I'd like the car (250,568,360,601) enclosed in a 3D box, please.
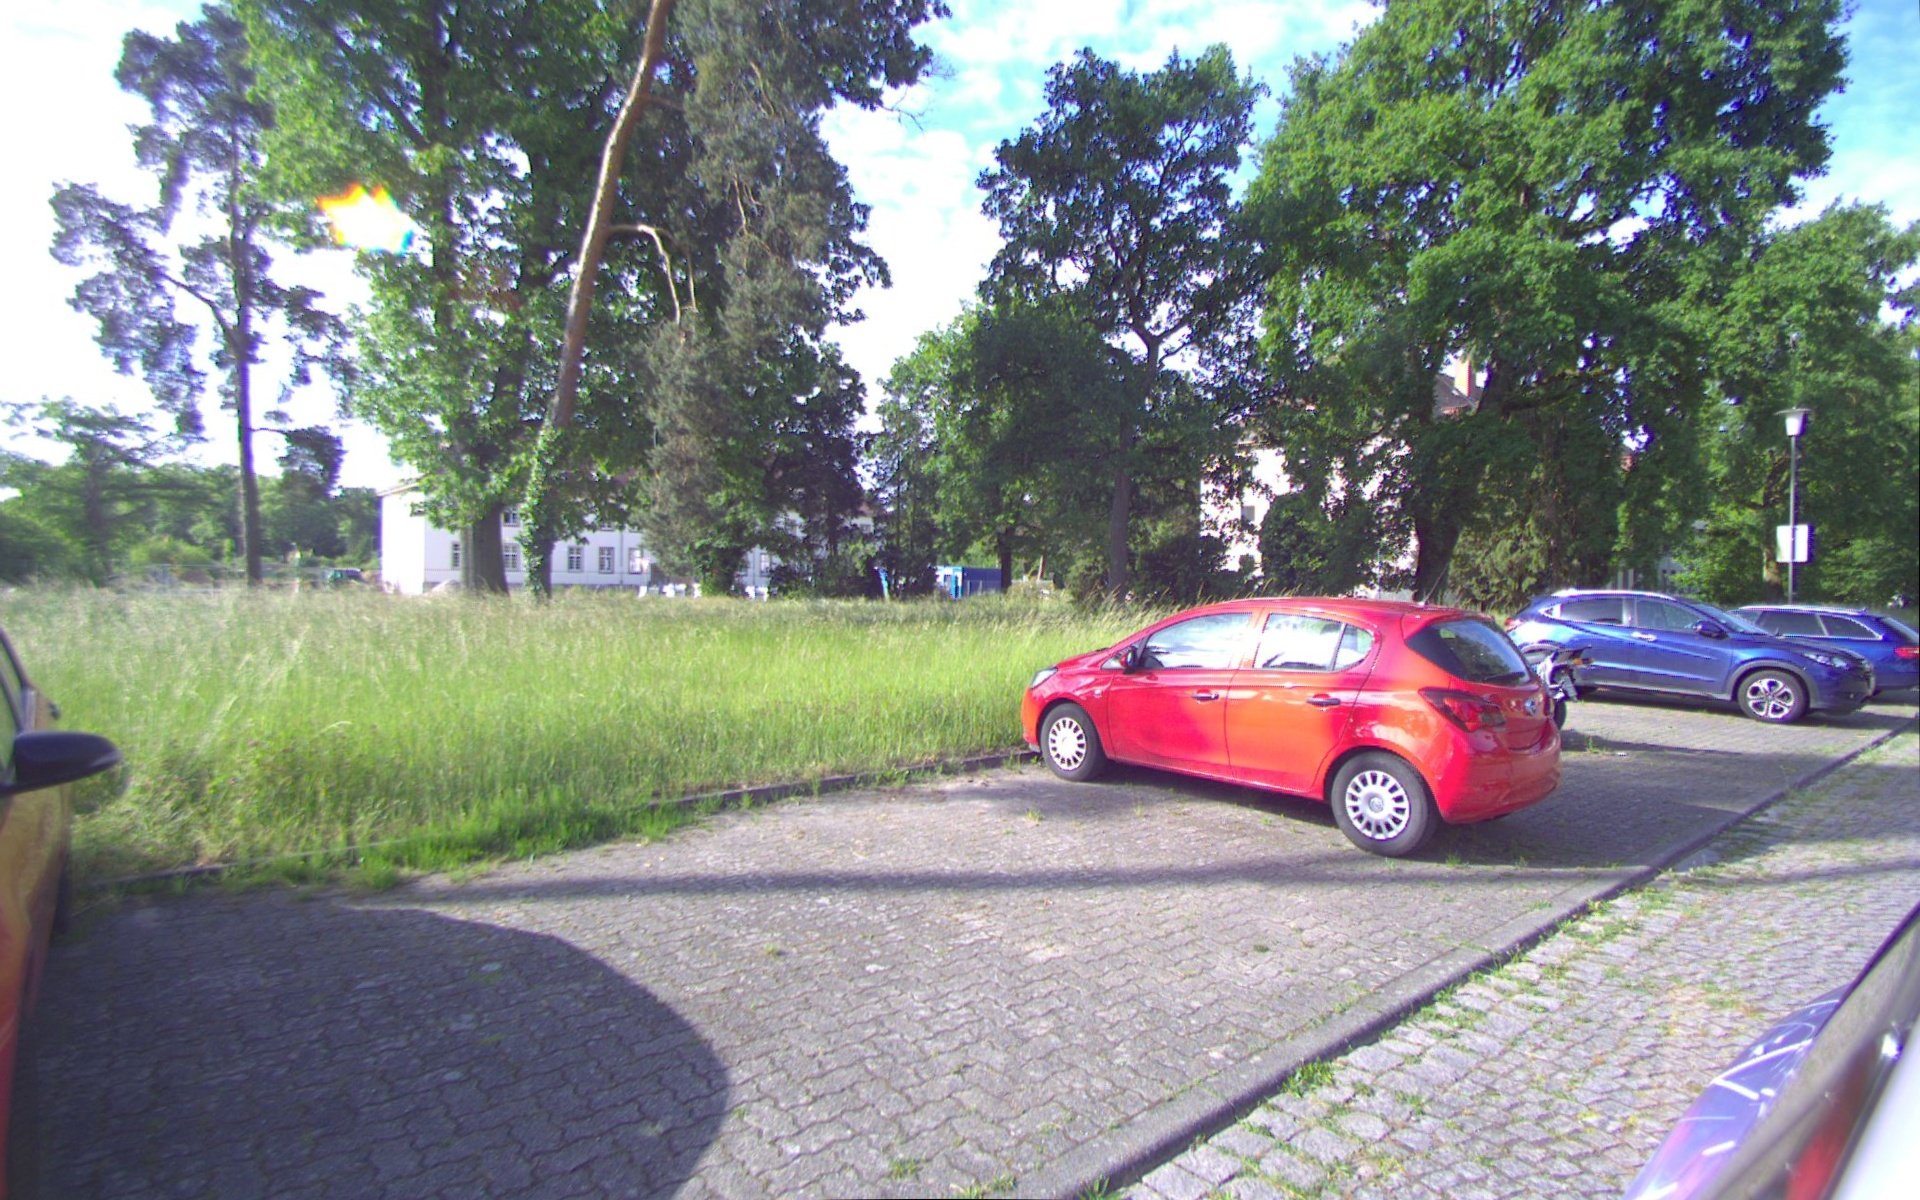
[{"bbox_3d":[-45.248,-1.078,70.031,5.889,2.198,2.380,-1,1,-12],"label":"car"}]

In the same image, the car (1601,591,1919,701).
[{"bbox_3d":[13.508,0.669,16.852,1.682,1.425,4.463,0,3,-37],"label":"car"}]

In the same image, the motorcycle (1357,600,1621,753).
[{"bbox_3d":[5.420,0.713,10.529,0.713,1.336,2.304,0,2,-40],"label":"motorcycle"}]

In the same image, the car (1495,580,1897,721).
[{"bbox_3d":[9.931,0.555,13.937,1.721,1.611,4.185,0,1,-40],"label":"car"}]

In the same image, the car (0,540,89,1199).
[{"bbox_3d":[-3.402,0.629,2.646,1.616,1.549,3.771,0,1,-40],"label":"car"}]

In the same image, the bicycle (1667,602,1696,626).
[{"bbox_3d":[32.370,0.605,45.415,0.700,1.029,1.023,1,1,12],"label":"bicycle"}]

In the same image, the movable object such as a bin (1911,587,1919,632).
[{"bbox_3d":[40.636,0.443,39.331,1.959,1.781,4.949,1,1,-26],"label":"movable object such as a bin"}]

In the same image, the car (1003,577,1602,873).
[{"bbox_3d":[2.218,0.634,7.380,1.616,1.497,3.835,0,2,-40],"label":"car"}]

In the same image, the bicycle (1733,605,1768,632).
[{"bbox_3d":[31.020,0.707,39.692,1.231,1.029,0.711,0,1,-33],"label":"bicycle"}]

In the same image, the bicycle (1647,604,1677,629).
[{"bbox_3d":[29.501,0.691,42.539,1.007,1.029,0.711,0,1,-33],"label":"bicycle"}]
